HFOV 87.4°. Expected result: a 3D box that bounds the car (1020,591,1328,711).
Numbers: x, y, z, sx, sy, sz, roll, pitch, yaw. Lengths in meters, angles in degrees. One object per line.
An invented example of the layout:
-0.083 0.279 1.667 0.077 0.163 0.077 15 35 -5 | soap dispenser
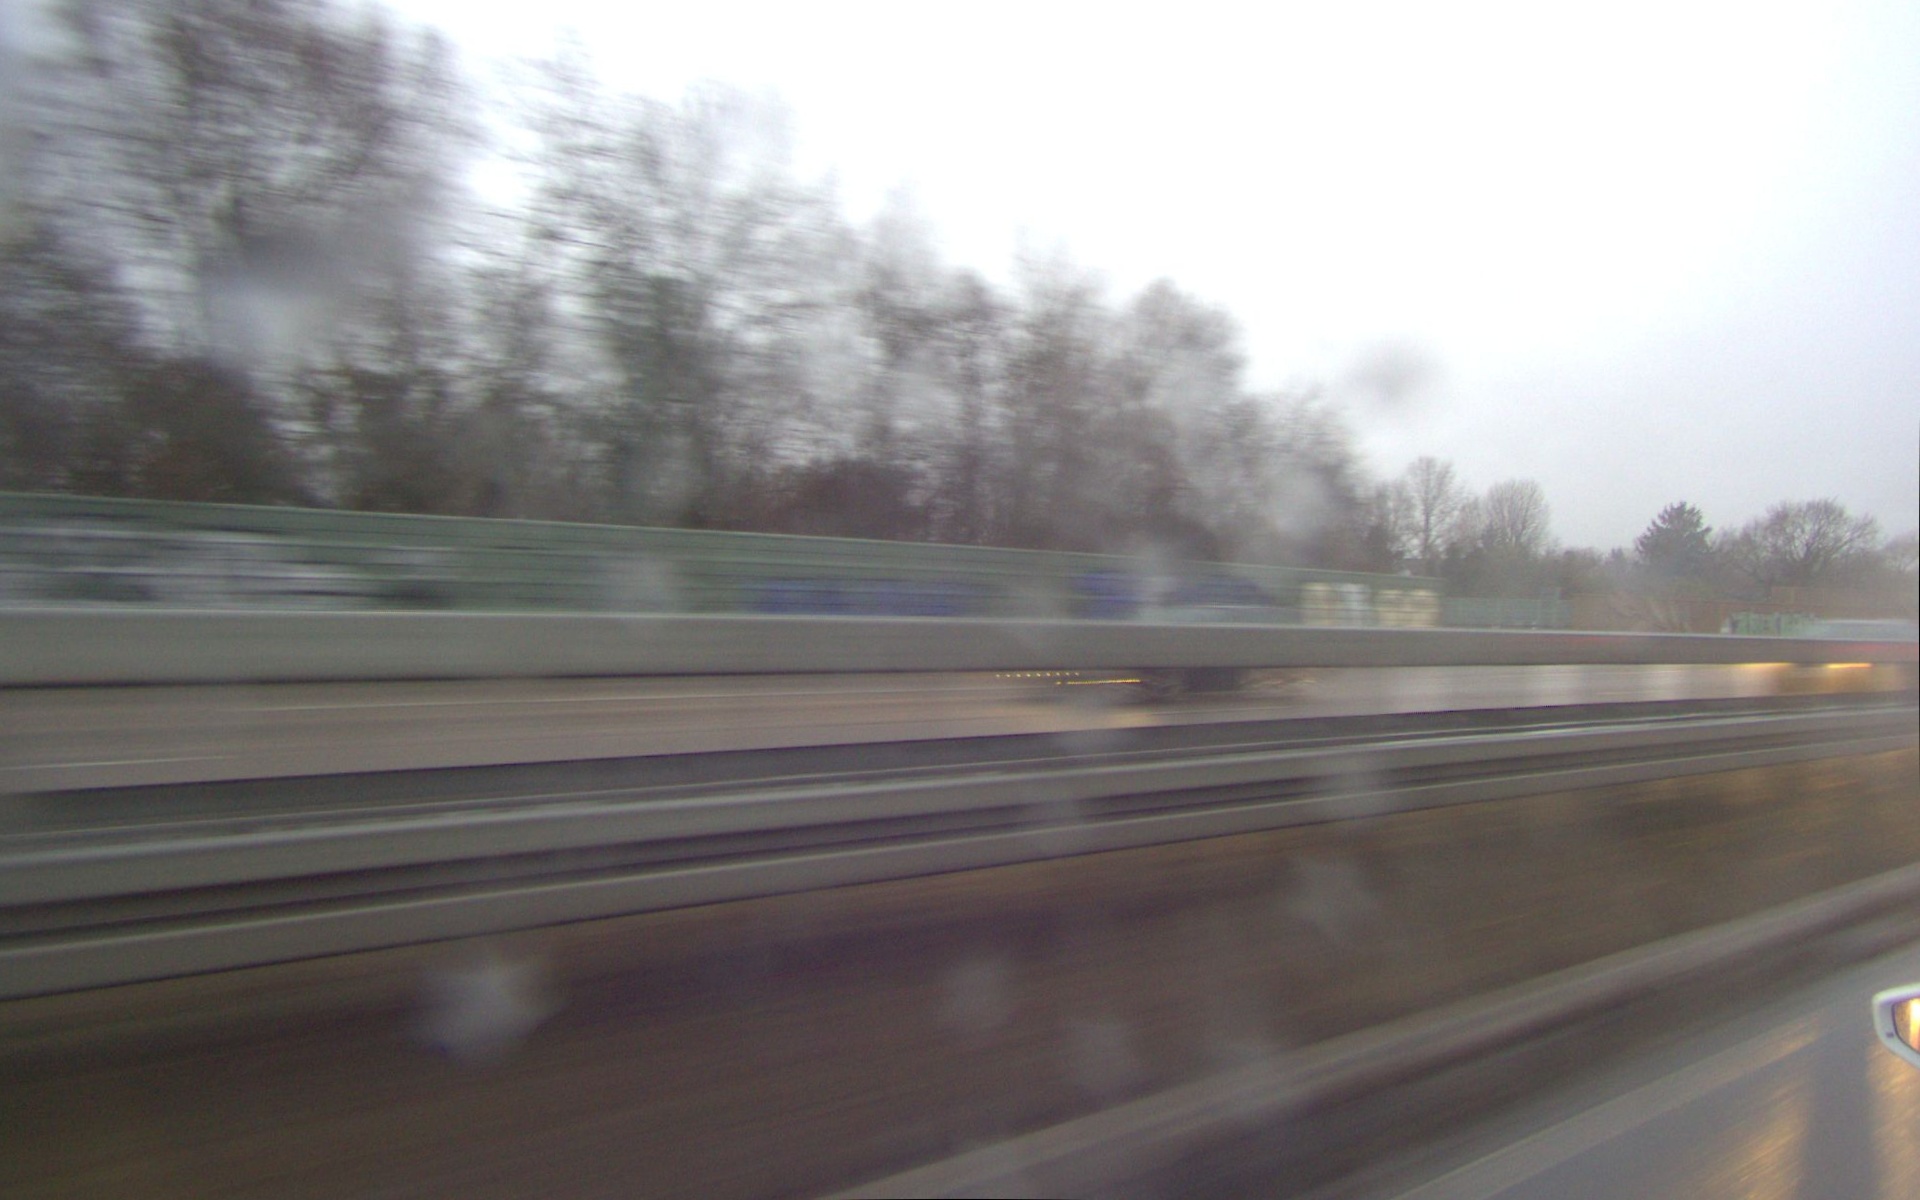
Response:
3.206 0.712 14.900 4.233 1.534 1.984 2 0 -30 | car

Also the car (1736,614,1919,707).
16.695 1.090 18.825 4.618 1.501 1.855 2 0 -31 | car
